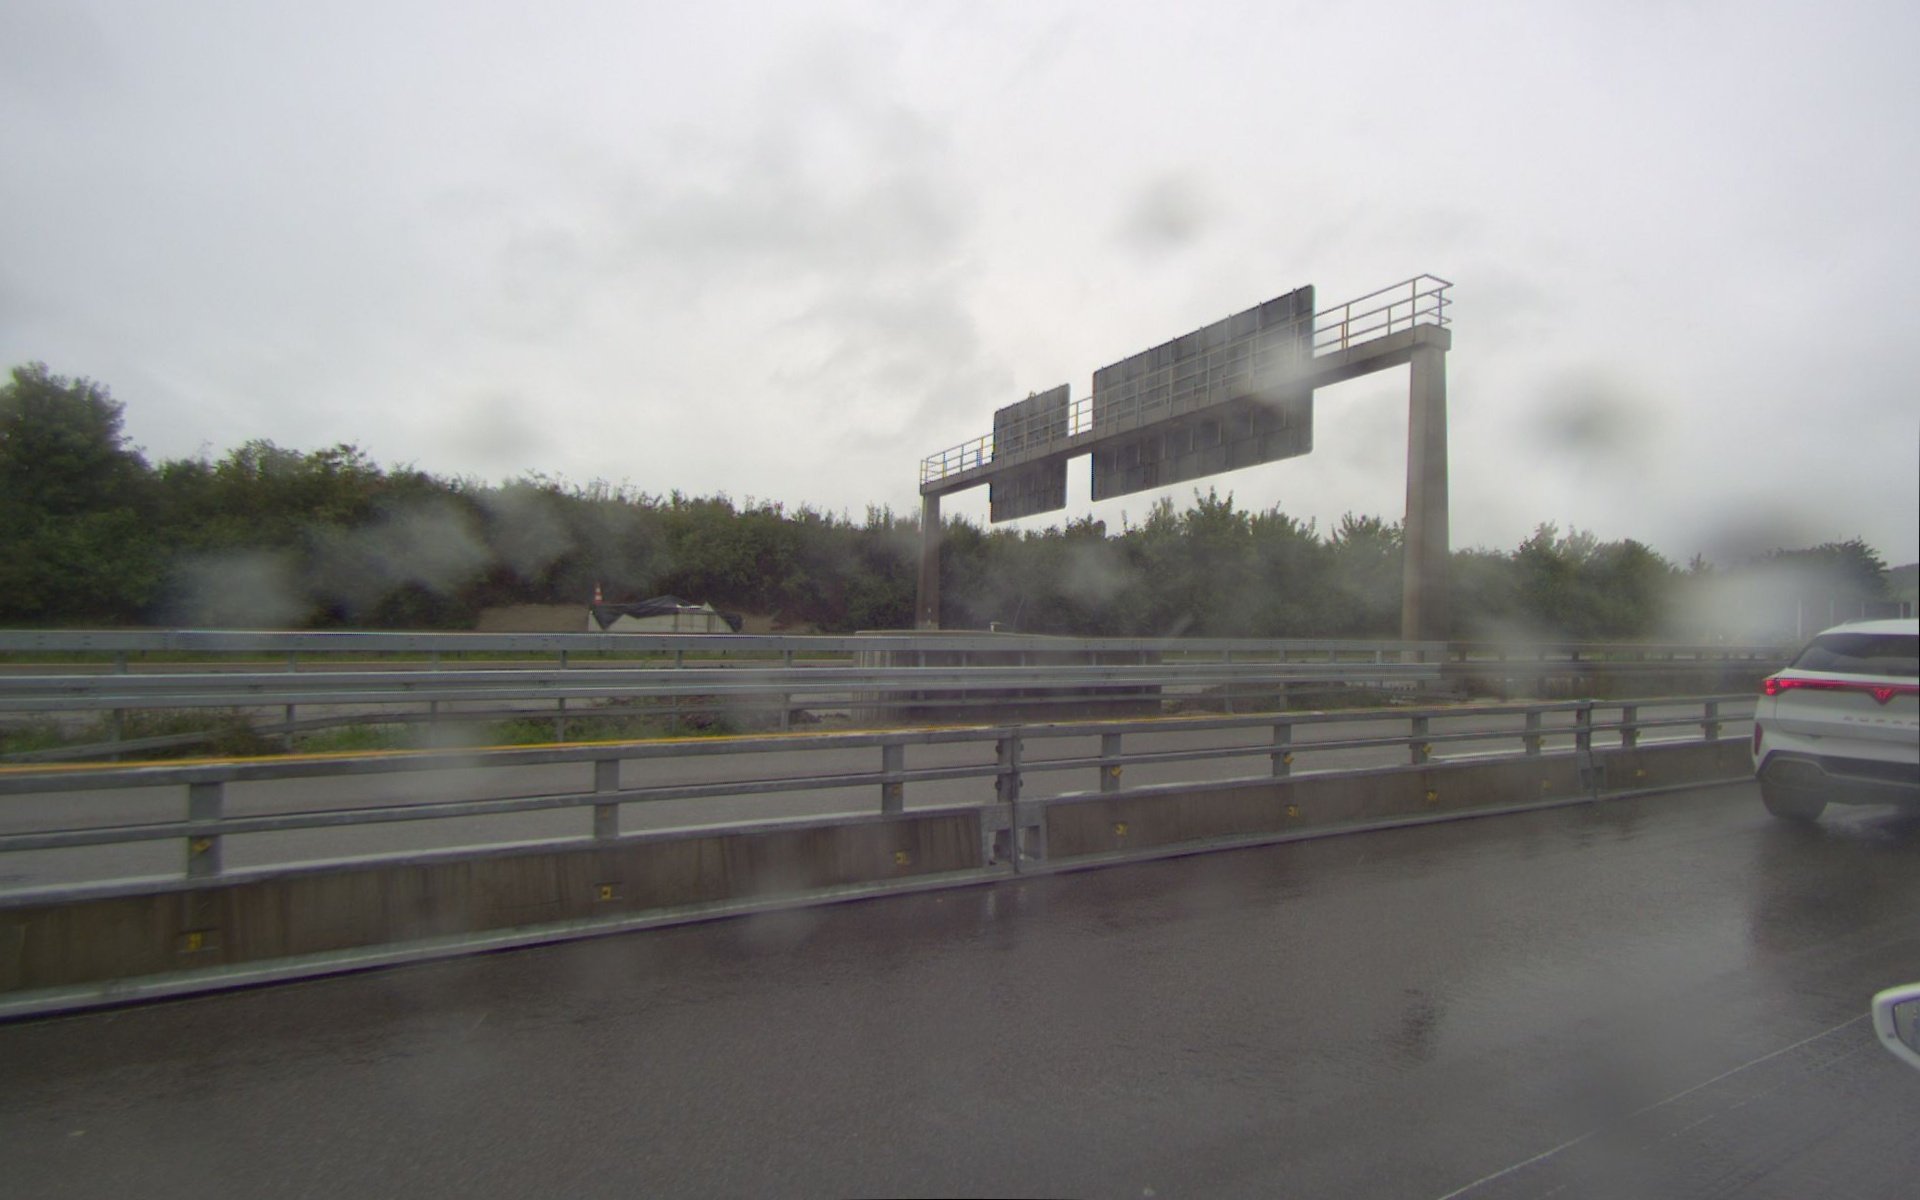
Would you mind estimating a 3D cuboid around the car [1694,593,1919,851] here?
[{"bbox_3d":[8.060,0.853,7.863,4.740,1.639,1.984,2,0,-30],"label":"car"}]
